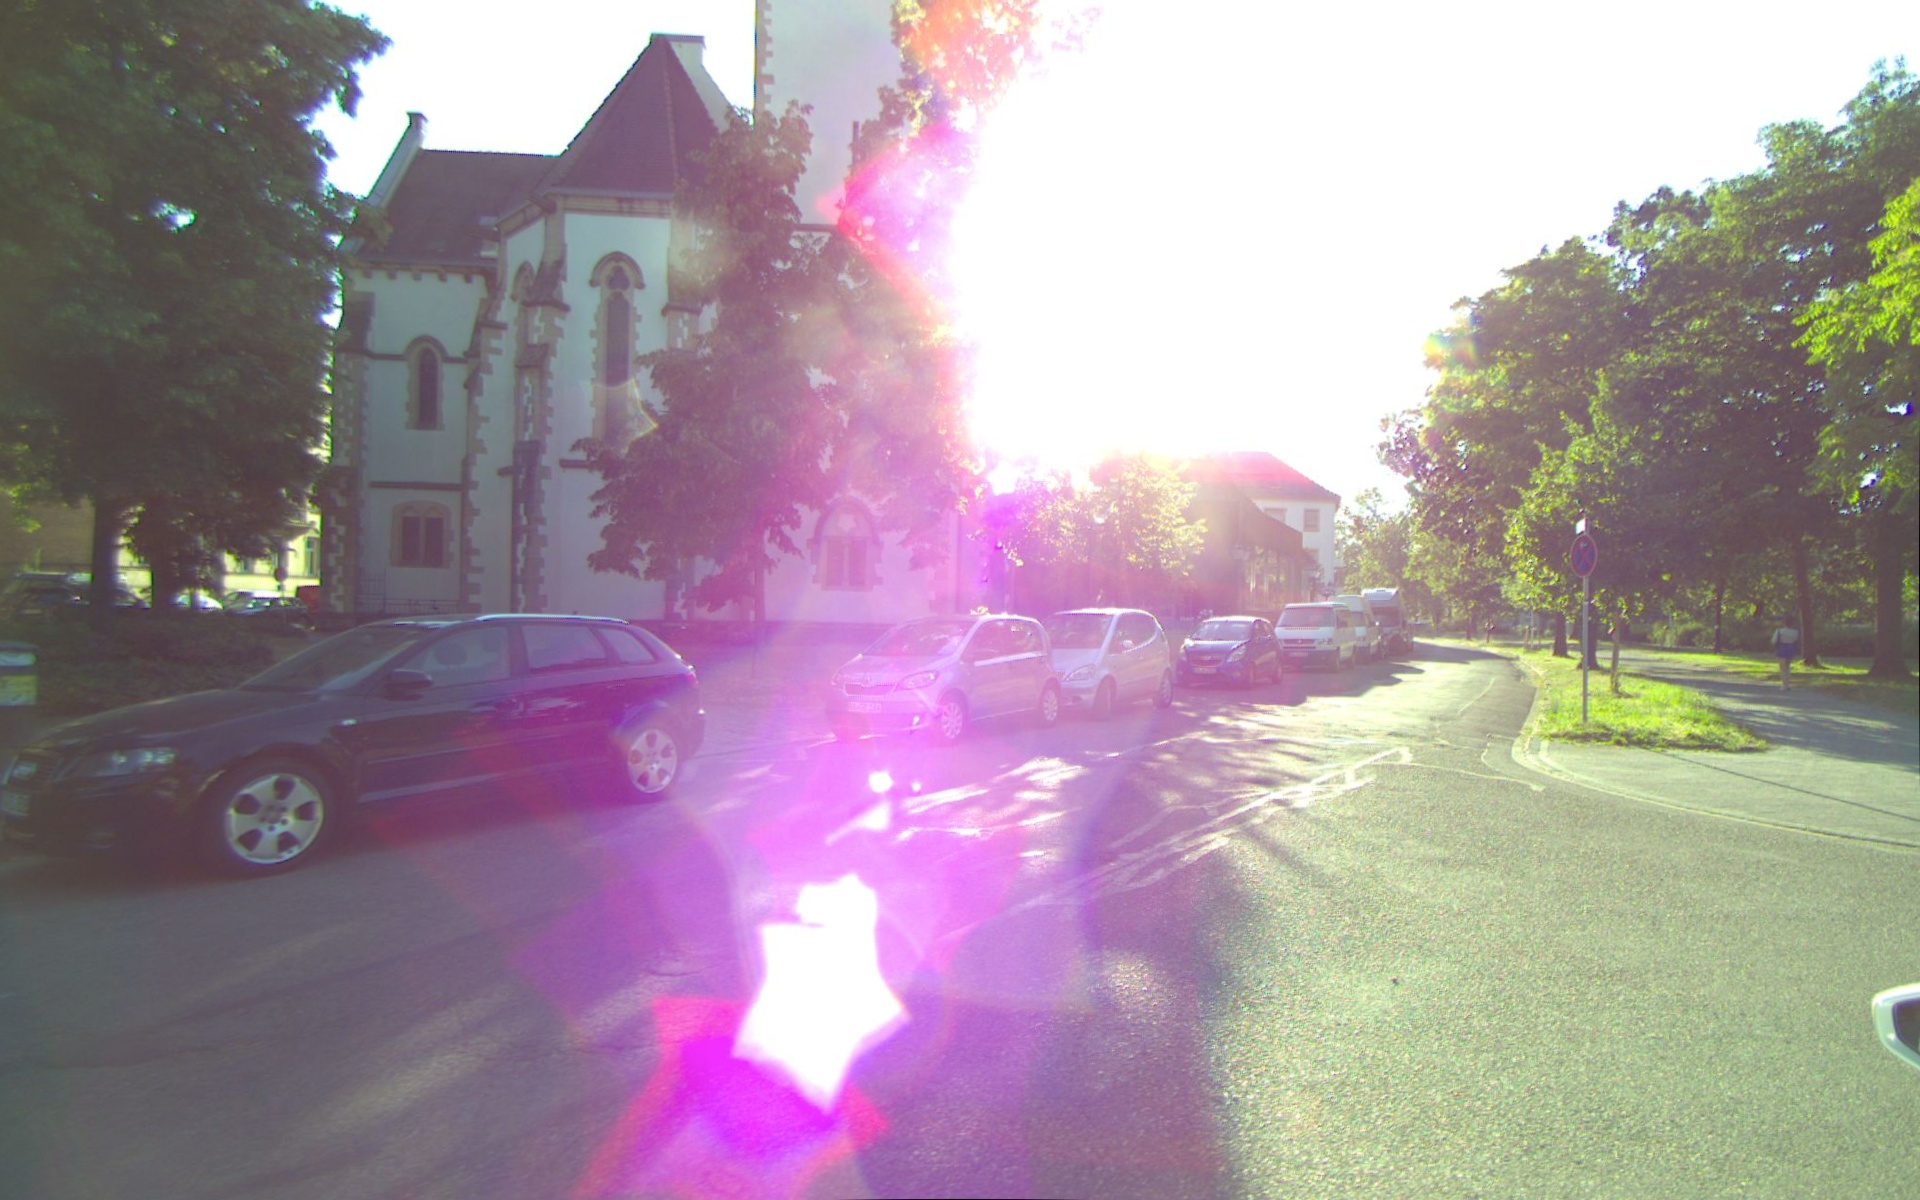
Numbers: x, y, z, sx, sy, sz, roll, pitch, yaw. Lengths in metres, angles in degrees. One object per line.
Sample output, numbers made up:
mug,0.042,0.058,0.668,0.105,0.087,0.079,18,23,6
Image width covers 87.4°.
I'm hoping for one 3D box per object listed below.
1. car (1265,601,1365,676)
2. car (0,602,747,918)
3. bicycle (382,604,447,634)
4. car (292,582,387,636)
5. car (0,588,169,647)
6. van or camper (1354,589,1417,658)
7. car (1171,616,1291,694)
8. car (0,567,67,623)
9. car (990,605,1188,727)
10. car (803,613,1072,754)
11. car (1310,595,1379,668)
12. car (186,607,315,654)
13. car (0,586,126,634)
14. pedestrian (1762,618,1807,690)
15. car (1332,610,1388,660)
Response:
car,10.535,1.085,29.572,1.824,1.972,4.830,1,0,31
car,-3.724,0.789,6.953,1.799,1.434,4.483,-2,-2,32
bicycle,-17.606,0.617,32.437,1.847,0.930,0.423,2,0,-1
car,-27.773,0.421,45.150,1.856,2.291,4.218,1,-1,-4
car,-27.010,0.534,31.112,1.856,1.677,4.218,1,-1,-4
van or camper,19.826,1.048,46.640,2.059,2.946,6.322,1,0,29
car,6.029,1.142,22.086,1.593,1.521,3.689,1,0,31
car,-40.506,-0.214,42.163,4.140,2.291,1.890,1,-1,-5
car,2.115,0.926,15.558,1.680,1.600,3.689,1,0,31
car,-0.135,0.914,12.374,1.590,1.459,3.597,-1,-1,33
car,13.763,1.079,35.776,1.822,2.387,5.181,1,0,26
car,-27.514,1.149,39.138,1.854,1.677,4.221,1,-1,2
car,-34.318,0.371,38.118,1.962,1.677,4.218,1,0,-4
pedestrian,18.826,1.222,22.934,0.764,1.595,0.764,0,-1,41
car,16.425,1.398,41.123,1.822,1.911,4.140,1,0,26
